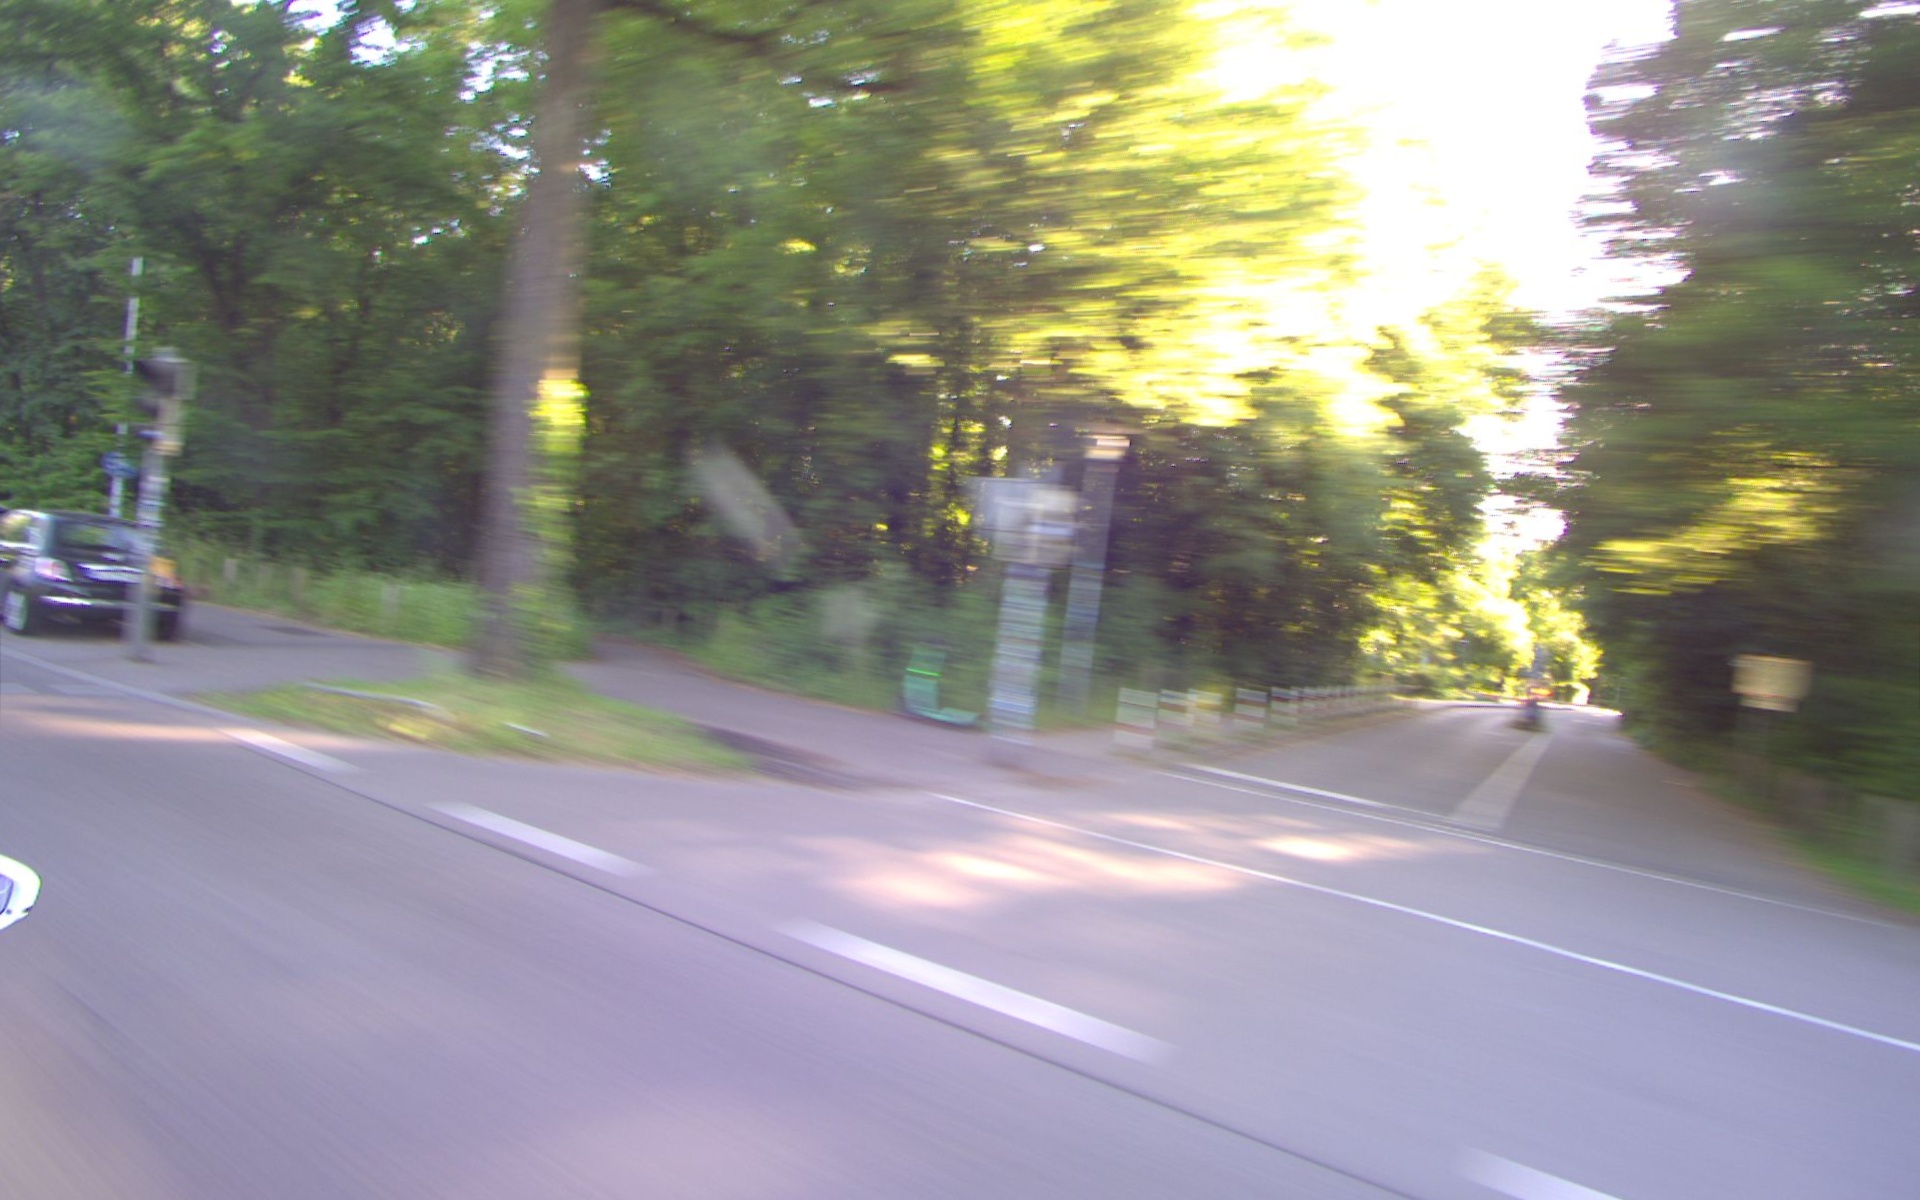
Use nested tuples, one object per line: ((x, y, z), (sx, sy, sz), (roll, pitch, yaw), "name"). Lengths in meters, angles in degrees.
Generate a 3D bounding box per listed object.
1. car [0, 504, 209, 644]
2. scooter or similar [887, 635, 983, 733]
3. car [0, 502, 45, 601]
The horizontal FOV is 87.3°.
((-11.619, -0.400, 13.097), (3.696, 1.487, 1.719), (6, 0, 33), "car")
((-0.347, 1.123, 13.597), (1.205, 1.157, 0.378), (7, 0, 38), "scooter or similar")
((-16.958, -0.996, 16.433), (4.907, 1.487, 1.719), (6, 0, 33), "car")
